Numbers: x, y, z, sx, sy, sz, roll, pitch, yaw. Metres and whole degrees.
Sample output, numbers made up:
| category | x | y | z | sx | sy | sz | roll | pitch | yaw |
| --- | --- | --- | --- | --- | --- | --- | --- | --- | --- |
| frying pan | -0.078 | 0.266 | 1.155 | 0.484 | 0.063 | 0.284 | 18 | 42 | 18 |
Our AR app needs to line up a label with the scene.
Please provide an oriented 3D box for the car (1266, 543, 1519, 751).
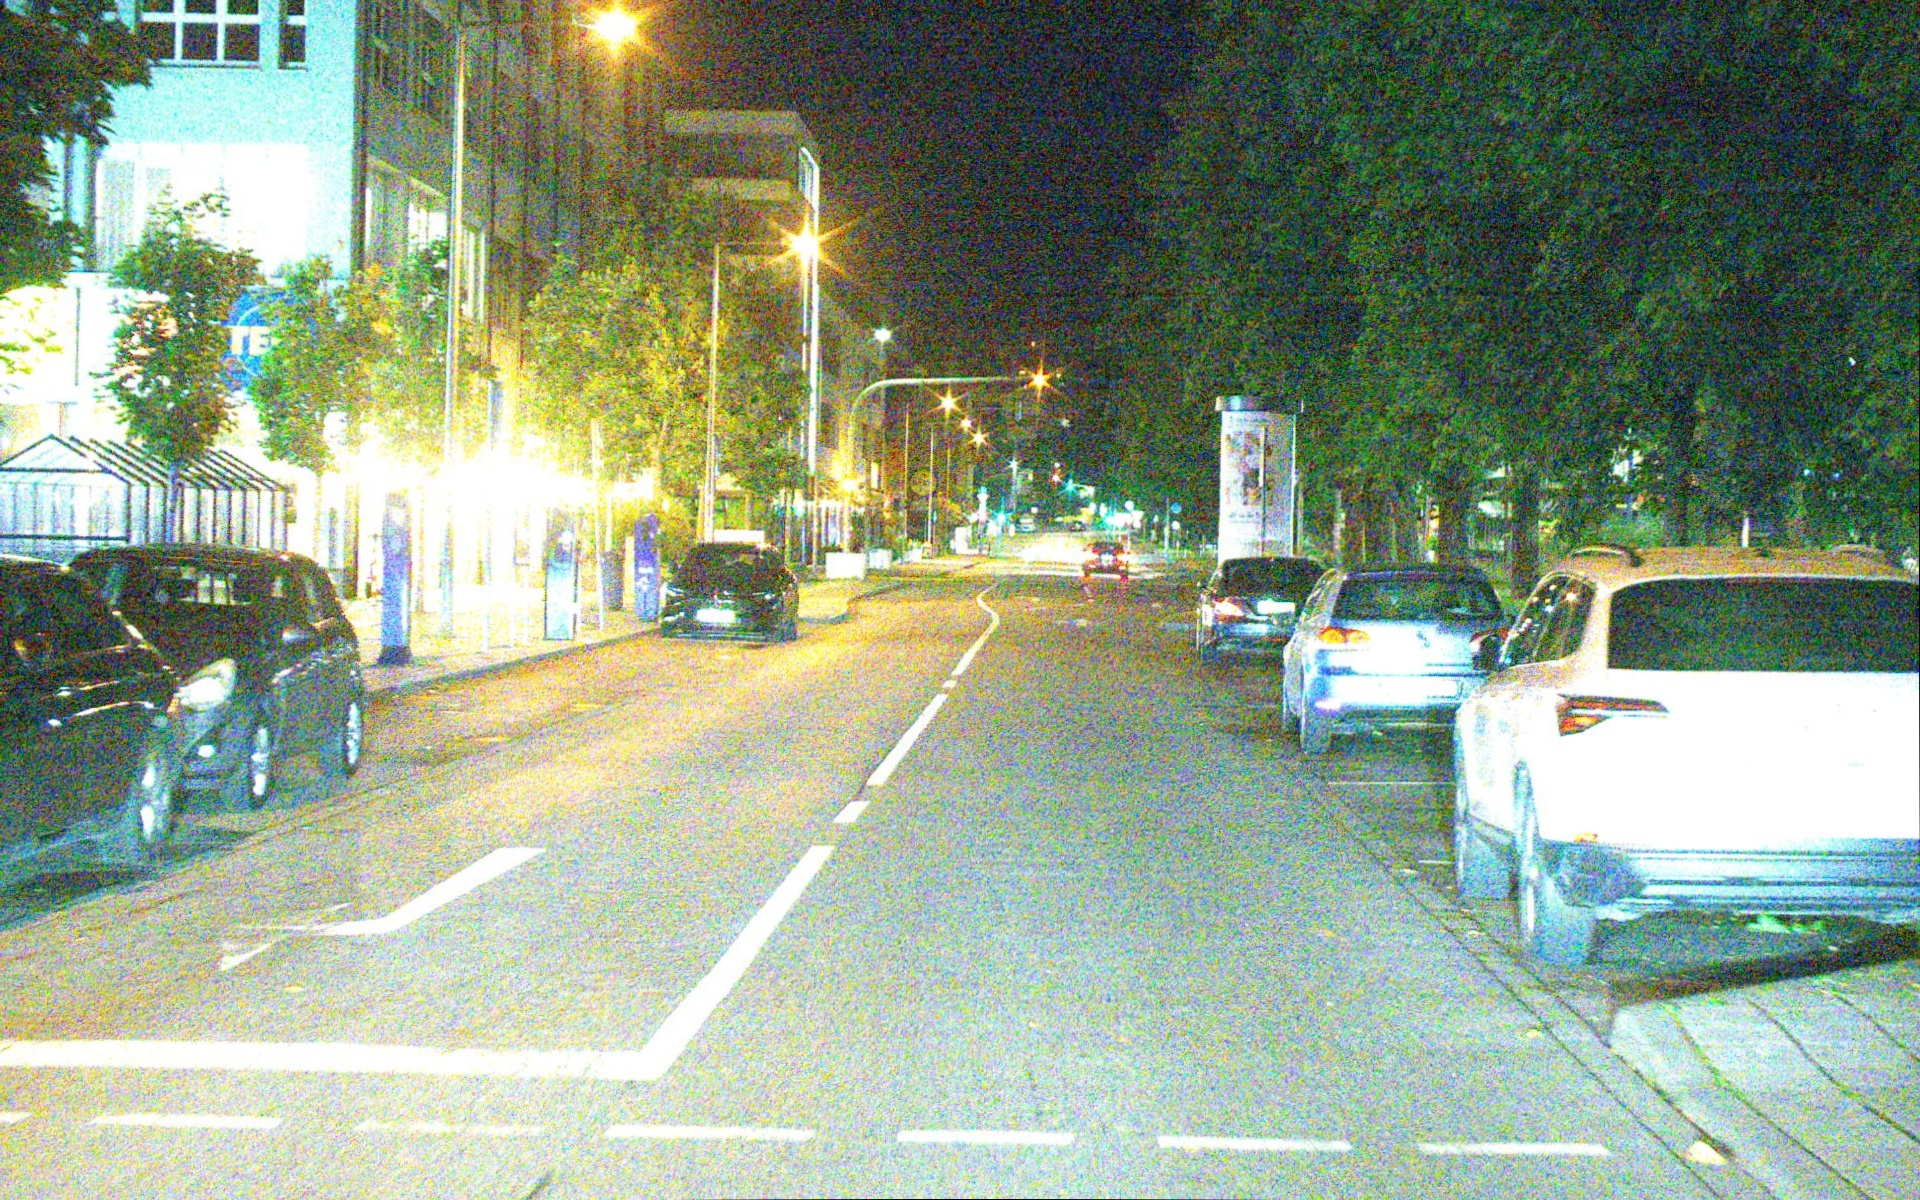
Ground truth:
| category | x | y | z | sx | sy | sz | roll | pitch | yaw |
| --- | --- | --- | --- | --- | --- | --- | --- | --- | --- |
| car | 3.431 | 0.322 | 27.883 | 1.690 | 1.531 | 4.015 | -1 | 1 | 2 |

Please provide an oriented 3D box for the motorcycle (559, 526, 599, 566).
| category | x | y | z | sx | sy | sz | roll | pitch | yaw |
| --- | --- | --- | --- | --- | --- | --- | --- | --- | --- |
| motorcycle | -9.915 | -1.415 | 89.515 | 0.478 | 1.017 | 1.674 | 2 | 1 | 12 |

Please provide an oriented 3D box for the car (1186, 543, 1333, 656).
| category | x | y | z | sx | sy | sz | roll | pitch | yaw |
| --- | --- | --- | --- | --- | --- | --- | --- | --- | --- |
| car | 4.002 | -0.046 | 46.549 | 1.764 | 1.409 | 4.807 | 1 | 1 | 3 |

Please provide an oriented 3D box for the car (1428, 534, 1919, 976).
| category | x | y | z | sx | sy | sz | roll | pitch | yaw |
| --- | --- | --- | --- | --- | --- | --- | --- | --- | --- |
| car | 3.024 | 0.505 | 14.167 | 1.770 | 1.531 | 4.216 | -1 | 1 | 2 |

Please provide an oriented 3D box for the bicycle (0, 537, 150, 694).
| category | x | y | z | sx | sy | sz | roll | pitch | yaw |
| --- | --- | --- | --- | --- | --- | --- | --- | --- | --- |
| bicycle | -7.213 | 0.105 | 26.377 | 1.851 | 1.162 | 0.532 | 1 | 1 | 2 |

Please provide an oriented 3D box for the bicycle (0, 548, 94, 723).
| category | x | y | z | sx | sy | sz | roll | pitch | yaw |
| --- | --- | --- | --- | --- | --- | --- | --- | --- | --- |
| bicycle | -7.369 | 0.242 | 25.271 | 1.851 | 1.249 | 0.532 | 1 | 1 | 2 |

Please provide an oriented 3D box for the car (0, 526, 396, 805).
| category | x | y | z | sx | sy | sz | roll | pitch | yaw |
| --- | --- | --- | --- | --- | --- | --- | --- | --- | --- |
| car | -4.689 | 0.315 | 20.740 | 1.722 | 1.423 | 3.976 | 3 | 1 | 2 |

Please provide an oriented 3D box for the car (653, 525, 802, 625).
| category | x | y | z | sx | sy | sz | roll | pitch | yaw |
| --- | --- | --- | --- | --- | --- | --- | --- | --- | --- |
| car | -3.528 | -0.415 | 52.842 | 1.741 | 1.408 | 4.495 | 2 | 1 | 2 |

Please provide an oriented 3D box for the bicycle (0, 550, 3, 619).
| category | x | y | z | sx | sy | sz | roll | pitch | yaw |
| --- | --- | --- | --- | --- | --- | --- | --- | --- | --- |
| bicycle | -7.466 | 0.114 | 23.158 | 1.851 | 0.996 | 0.532 | 3 | 1 | 2 |

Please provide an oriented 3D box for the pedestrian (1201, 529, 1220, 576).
| category | x | y | z | sx | sy | sz | roll | pitch | yaw |
| --- | --- | --- | --- | --- | --- | --- | --- | --- | --- |
| pedestrian | 9.837 | -1.865 | 135.177 | 0.703 | 1.812 | 1.082 | 1 | 1 | 2 |

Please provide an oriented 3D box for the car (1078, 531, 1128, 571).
| category | x | y | z | sx | sy | sz | roll | pitch | yaw |
| --- | --- | --- | --- | --- | --- | --- | --- | --- | --- |
| car | 5.978 | -2.078 | 143.911 | 1.993 | 1.637 | 4.000 | 0 | 1 | 2 |

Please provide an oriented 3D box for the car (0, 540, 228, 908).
| category | x | y | z | sx | sy | sz | roll | pitch | yaw |
| --- | --- | --- | --- | --- | --- | --- | --- | --- | --- |
| car | -4.729 | 0.471 | 14.972 | 1.807 | 1.420 | 4.921 | 3 | 1 | 2 |
